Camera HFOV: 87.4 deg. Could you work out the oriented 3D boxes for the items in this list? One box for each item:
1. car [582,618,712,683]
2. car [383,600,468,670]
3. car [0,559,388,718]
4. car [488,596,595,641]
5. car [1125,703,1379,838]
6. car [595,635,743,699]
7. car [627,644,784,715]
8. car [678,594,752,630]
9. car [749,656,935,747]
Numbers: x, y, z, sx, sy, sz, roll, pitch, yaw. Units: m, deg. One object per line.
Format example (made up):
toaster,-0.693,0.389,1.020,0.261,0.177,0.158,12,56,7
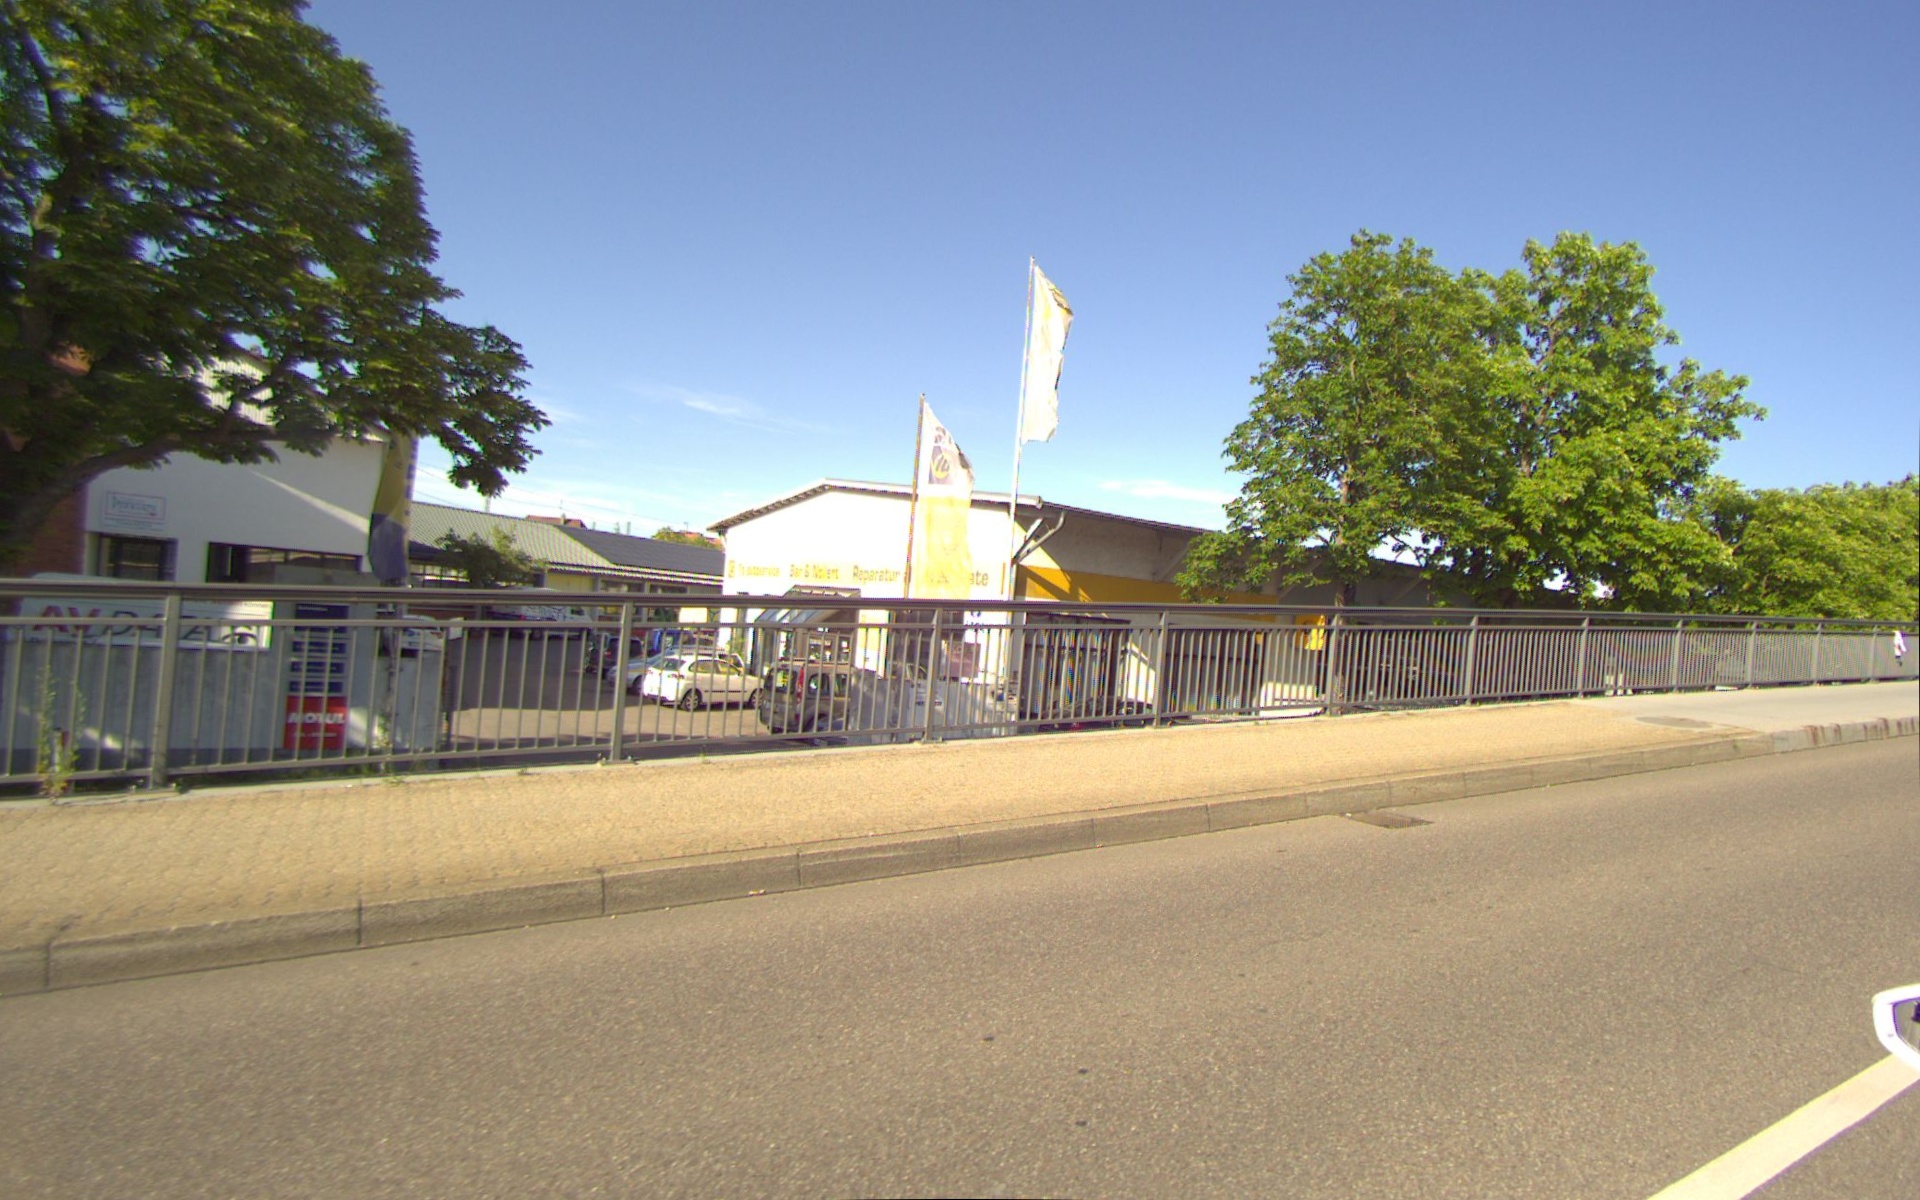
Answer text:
car,-11.220,1.833,36.095,3.964,2.040,1.979,4,0,-37
car,-18.364,1.158,34.450,1.981,2.040,3.926,4,0,-35
car,-15.332,0.865,20.560,5.844,2.594,2.113,8,-1,-39
car,-21.367,0.982,51.525,1.960,2.040,5.294,4,0,19
car,5.375,3.057,18.471,4.202,2.017,1.917,4,0,-26
car,-9.132,2.122,31.621,3.964,1.768,1.979,4,0,-37
car,-7.283,2.249,29.070,1.968,1.749,3.985,4,0,37
car,-15.534,0.812,63.993,1.960,2.040,5.294,4,0,19
car,-2.823,2.422,24.389,3.966,1.876,1.978,4,-1,-38
